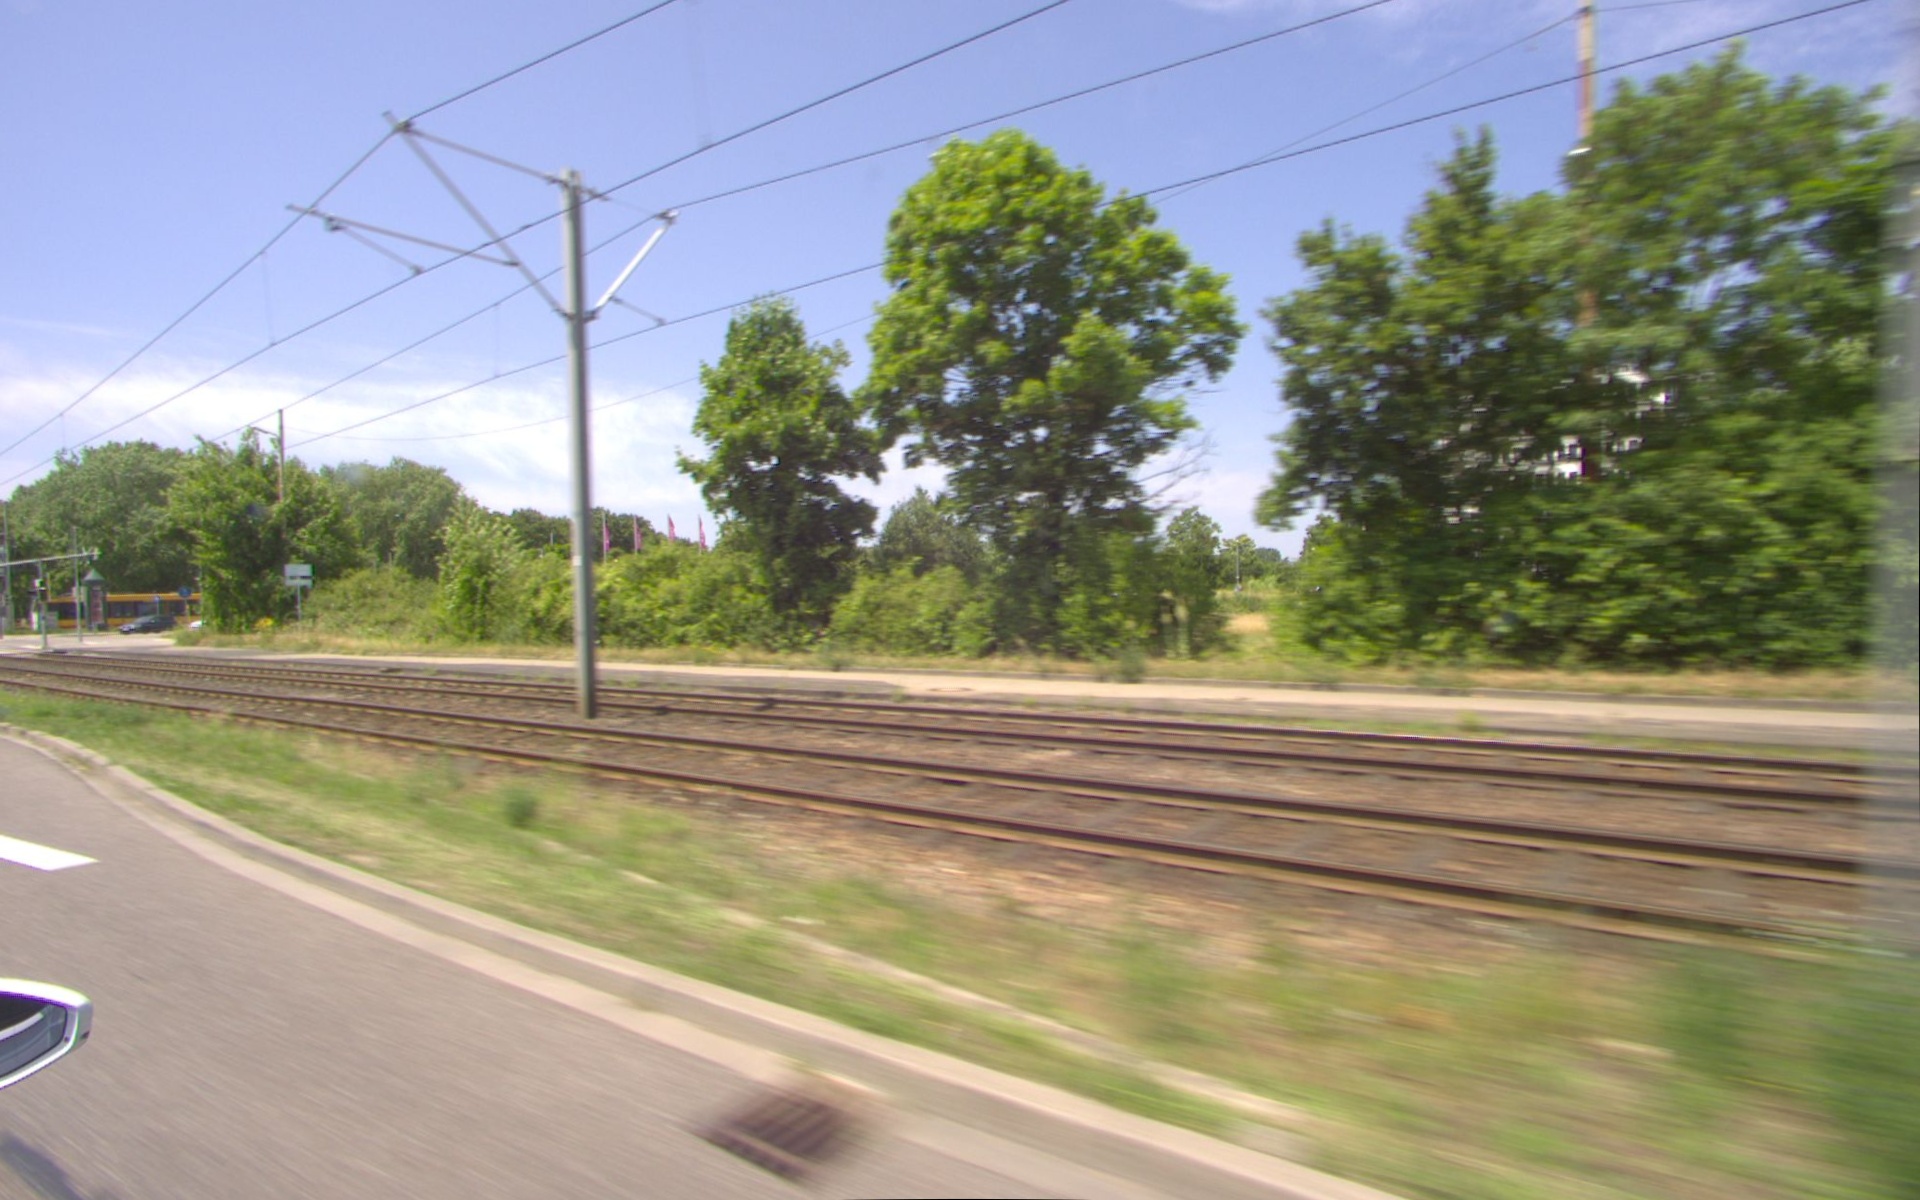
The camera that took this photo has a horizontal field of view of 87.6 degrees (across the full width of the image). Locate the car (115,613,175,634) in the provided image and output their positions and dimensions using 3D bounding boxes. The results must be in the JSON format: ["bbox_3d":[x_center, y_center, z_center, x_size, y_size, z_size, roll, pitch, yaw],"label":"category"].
[{"bbox_3d":[-63.543,1.819,78.172,1.608,1.483,3.507,-2,1,4],"label":"car"}]

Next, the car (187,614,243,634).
[{"bbox_3d":[-59.913,1.891,80.582,1.608,1.482,3.805,-1,0,1],"label":"car"}]

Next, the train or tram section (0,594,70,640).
[{"bbox_3d":[-88.174,1.693,89.000,13.231,3.859,2.917,-2,-2,-22],"label":"train or tram section"}]

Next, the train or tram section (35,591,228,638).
[{"bbox_3d":[-78.329,1.314,95.225,13.884,3.968,2.901,-1,-2,-40],"label":"train or tram section"}]
